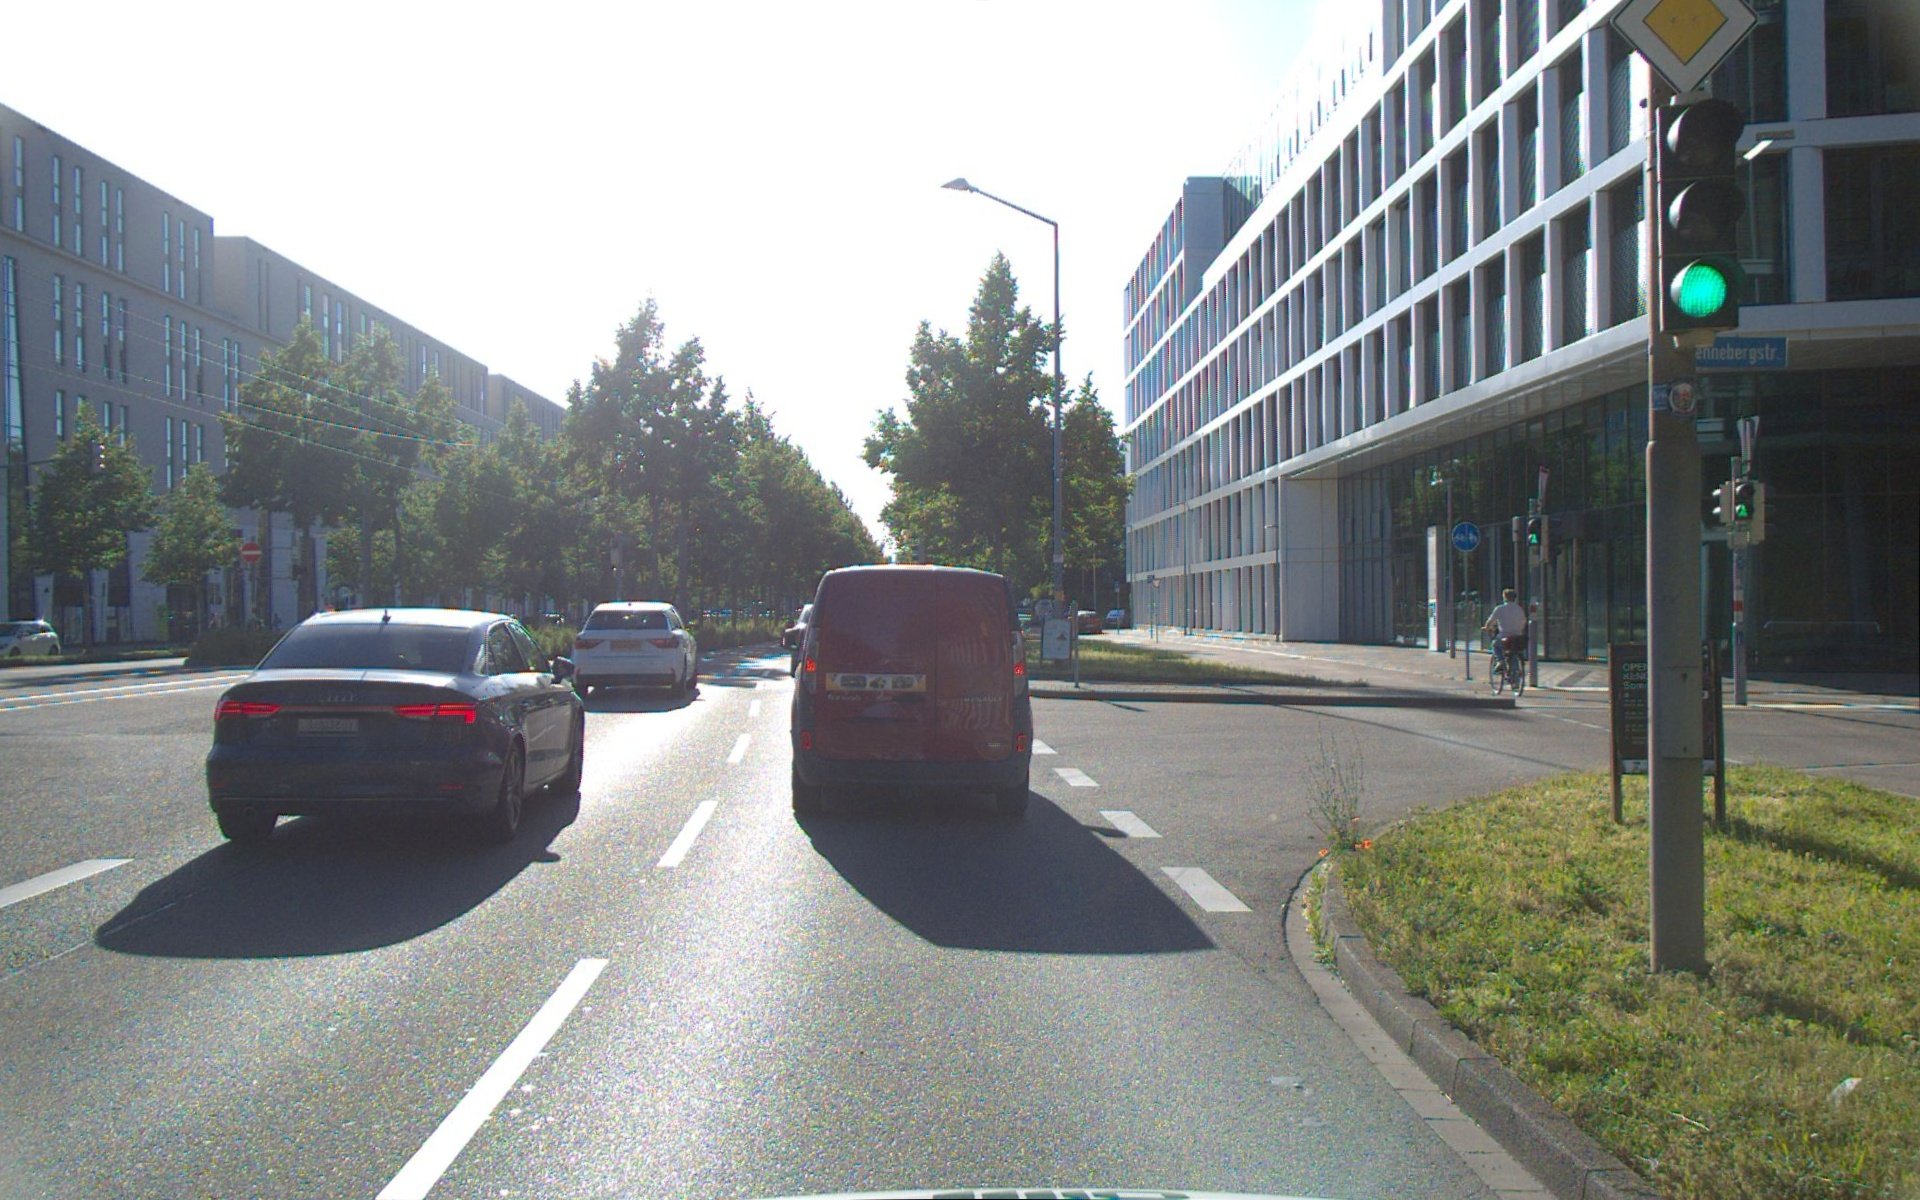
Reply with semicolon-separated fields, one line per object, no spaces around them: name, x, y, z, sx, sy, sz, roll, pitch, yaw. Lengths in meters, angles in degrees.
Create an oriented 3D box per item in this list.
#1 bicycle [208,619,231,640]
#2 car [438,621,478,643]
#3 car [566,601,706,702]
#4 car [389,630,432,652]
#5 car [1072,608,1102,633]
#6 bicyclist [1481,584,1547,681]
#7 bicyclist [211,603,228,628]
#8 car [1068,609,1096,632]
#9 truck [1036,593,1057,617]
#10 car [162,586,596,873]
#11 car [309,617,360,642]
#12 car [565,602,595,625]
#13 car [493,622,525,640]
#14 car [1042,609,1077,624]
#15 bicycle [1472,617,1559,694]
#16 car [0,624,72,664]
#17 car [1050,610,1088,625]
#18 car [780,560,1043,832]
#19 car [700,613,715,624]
bicycle;-39.861;1.574;89.006;0.517;1.130;1.637;0;-1;-1
car;-35.990;2.282;118.645;1.740;1.555;3.805;-1;0;-1
car;-5.057;0.758;26.283;1.773;1.460;4.108;-1;0;-5
car;-35.210;2.622;106.065;1.548;1.366;3.711;-1;0;-1
car;8.474;1.353;110.552;1.722;1.640;3.903;-1;0;0
bicyclist;9.125;0.523;27.266;0.756;1.558;0.849;-1;0;-1
bicyclist;-39.874;0.833;89.038;0.566;1.316;0.705;0;-1;-2
car;8.521;1.396;115.756;1.781;1.559;3.438;-1;0;2
truck;9.465;0.554;181.333;1.794;2.545;5.930;0;-1;-1
car;-3.659;0.719;11.210;1.773;1.554;4.108;-1;0;-5
car;-35.228;1.641;93.209;1.548;1.366;3.711;-1;0;-1
car;-34.677;1.228;150.954;1.954;2.049;3.998;0;0;-3
car;-35.789;2.415;131.318;1.548;1.366;3.711;-1;0;-1
car;9.684;1.621;161.268;3.327;1.382;1.472;-1;-1;6
bicycle;9.115;0.891;27.210;0.726;1.194;1.961;-1;0;-1
car;-34.334;1.592;60.317;1.548;1.366;4.470;-1;0;-1
car;9.839;1.580;149.583;3.327;1.382;1.472;-1;-1;6
car;-0.327;0.659;13.324;1.771;1.826;4.112;-1;0;0
car;-37.869;2.819;247.808;1.720;1.601;3.999;-1;0;-1
